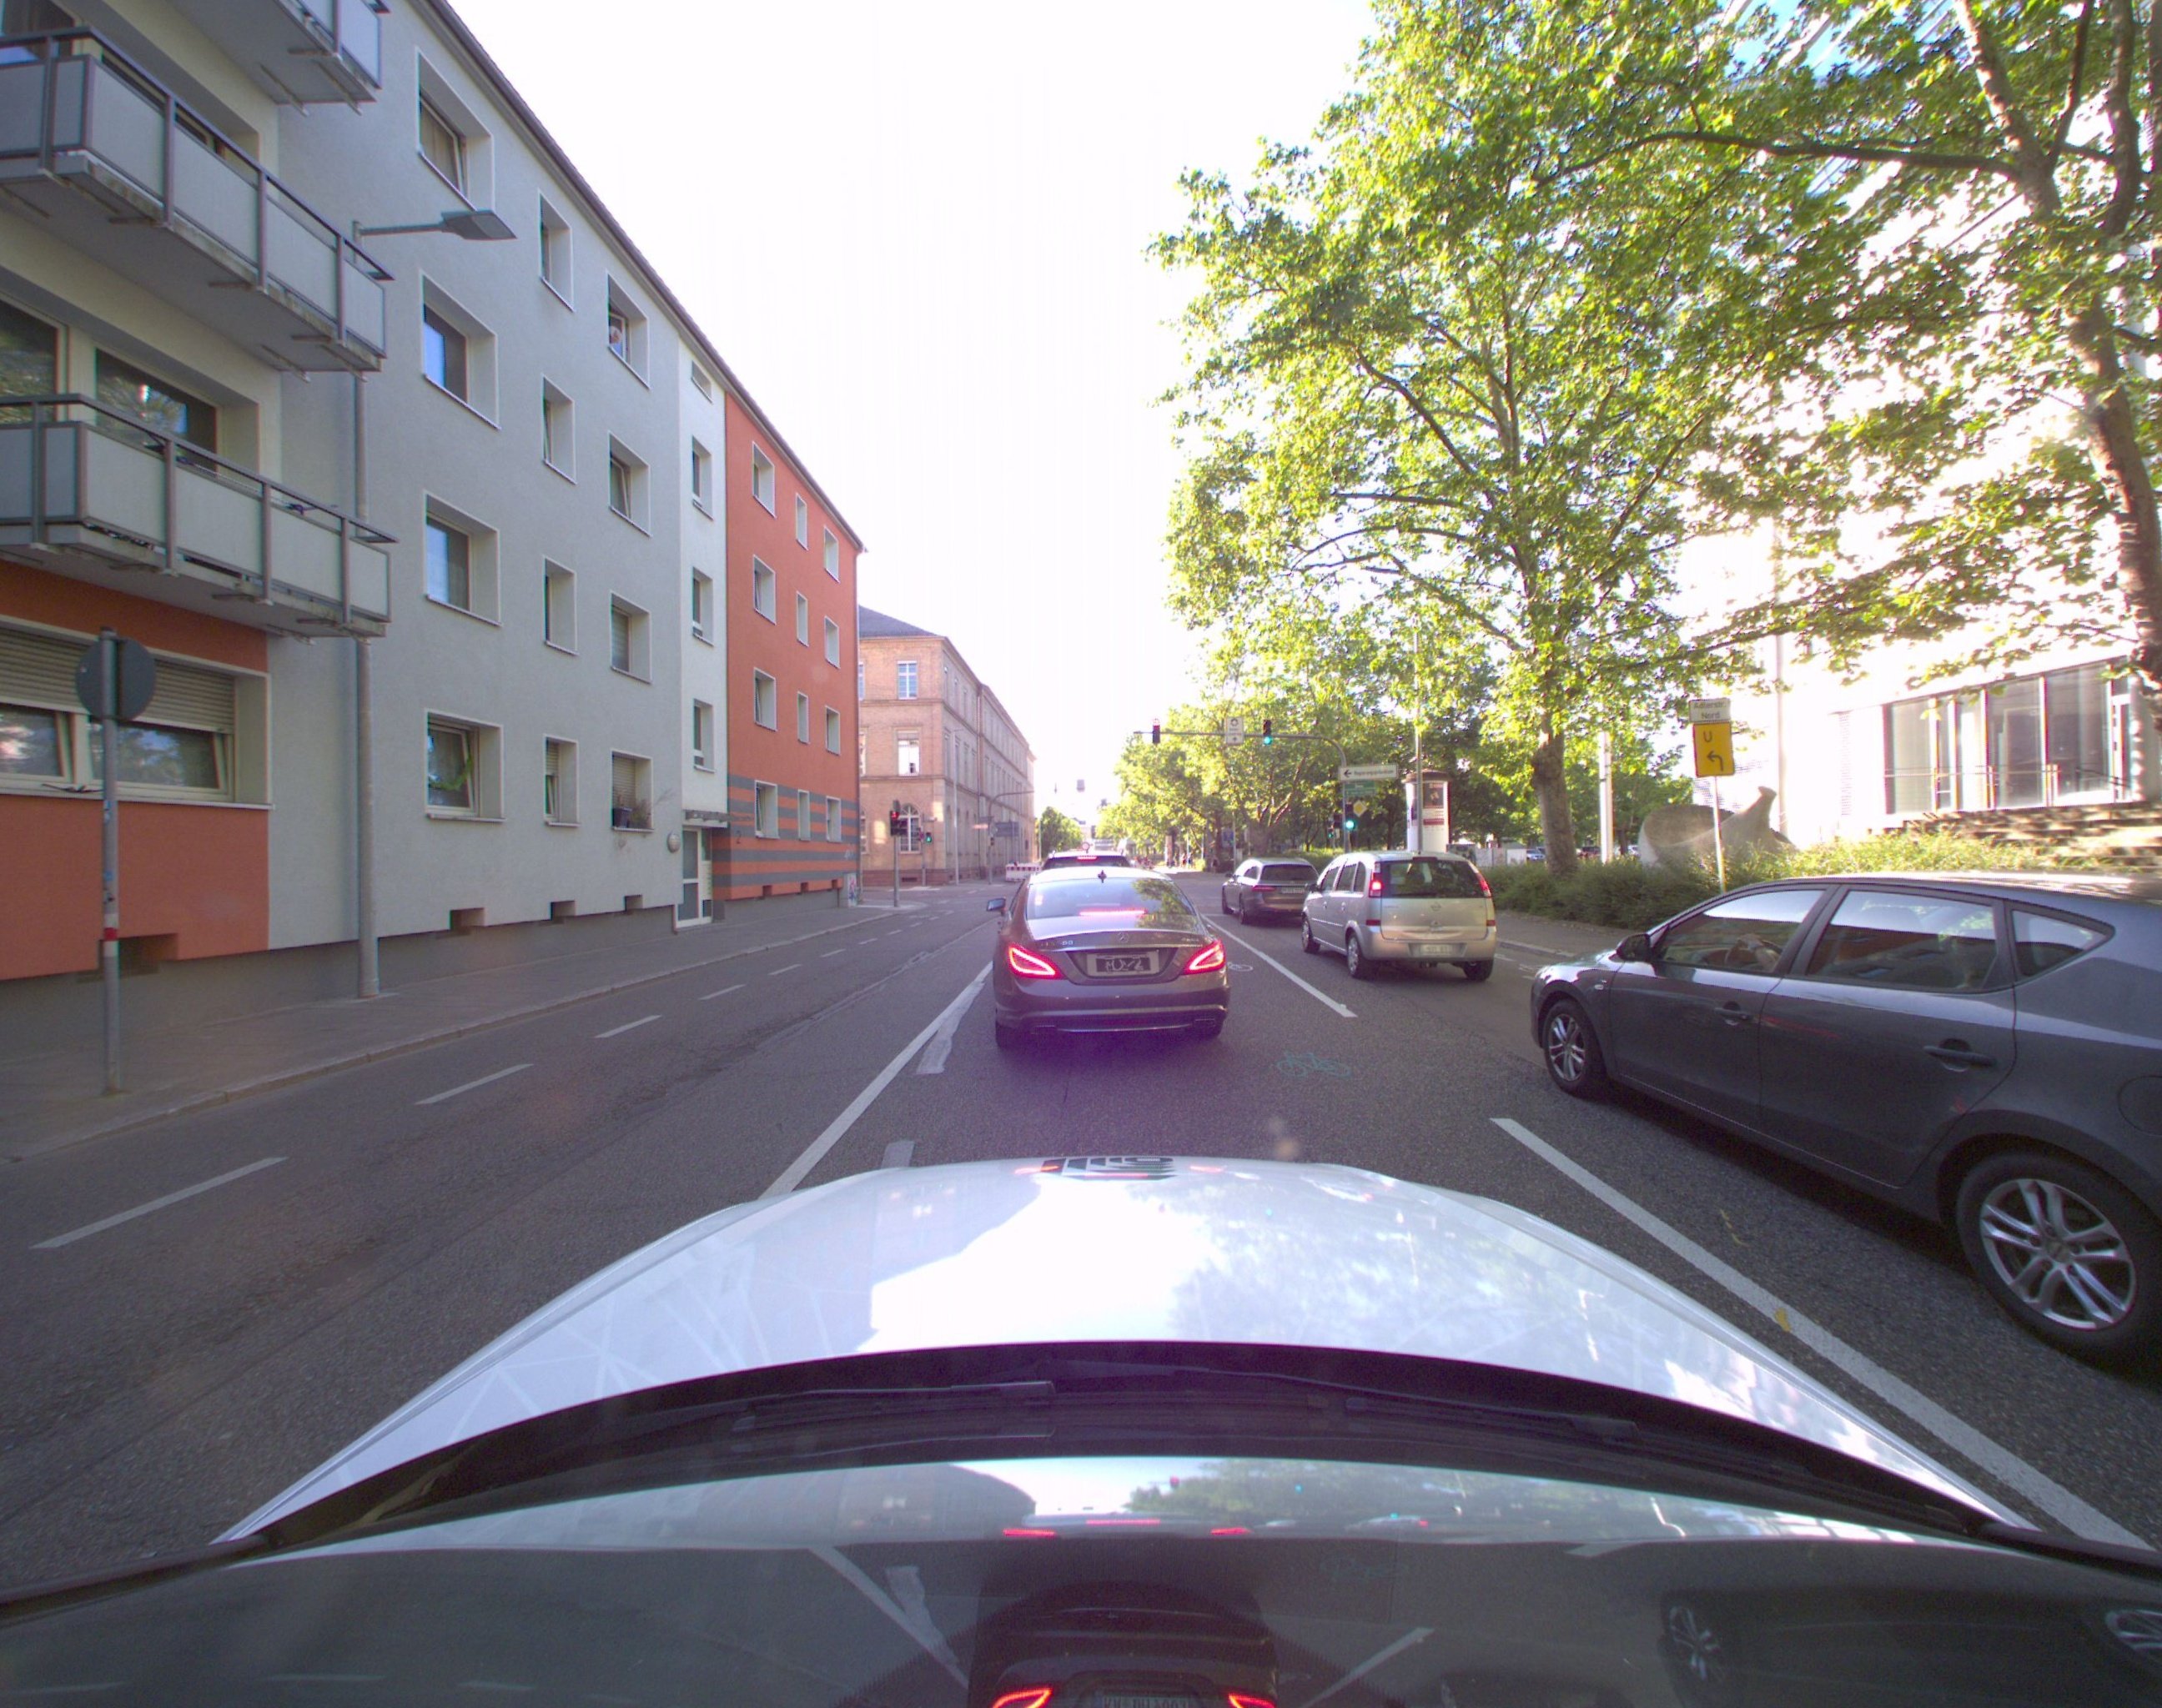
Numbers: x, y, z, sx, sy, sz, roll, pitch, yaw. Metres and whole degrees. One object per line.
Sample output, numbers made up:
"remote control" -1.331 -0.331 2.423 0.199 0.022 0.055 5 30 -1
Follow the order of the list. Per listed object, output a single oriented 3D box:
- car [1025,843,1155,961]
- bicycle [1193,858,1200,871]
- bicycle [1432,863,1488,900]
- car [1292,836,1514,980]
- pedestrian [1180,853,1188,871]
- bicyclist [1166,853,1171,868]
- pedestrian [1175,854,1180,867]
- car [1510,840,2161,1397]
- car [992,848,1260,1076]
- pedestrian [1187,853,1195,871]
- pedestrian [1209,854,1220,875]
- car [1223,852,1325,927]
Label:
"car" 0.190 0.695 13.749 1.854 1.682 4.002 -1 0 2
"bicycle" 11.040 0.999 78.156 0.480 1.202 1.607 0 -1 2
"bicycle" 10.982 0.776 23.588 1.895 1.028 0.635 0 -1 -36
"car" 4.223 0.647 11.330 1.725 1.662 3.682 0 -1 2
"pedestrian" 9.974 0.778 78.578 0.634 1.797 0.698 0 -1 -2
"bicyclist" 11.233 0.838 104.905 0.593 2.039 0.566 0 -1 -3
"pedestrian" 10.785 0.731 91.156 0.554 1.509 0.345 0 -1 -3
"car" 3.838 0.713 3.765 1.698 1.519 4.002 -1 0 2
"car" 0.142 0.737 7.614 1.859 1.519 3.992 -1 0 -6
"pedestrian" 10.632 0.798 78.540 0.634 1.760 0.698 0 -1 -2
"pedestrian" 9.913 0.756 60.526 0.634 1.545 0.909 0 -1 -2
"car" 4.352 0.758 18.890 1.595 1.549 3.682 0 -1 2
